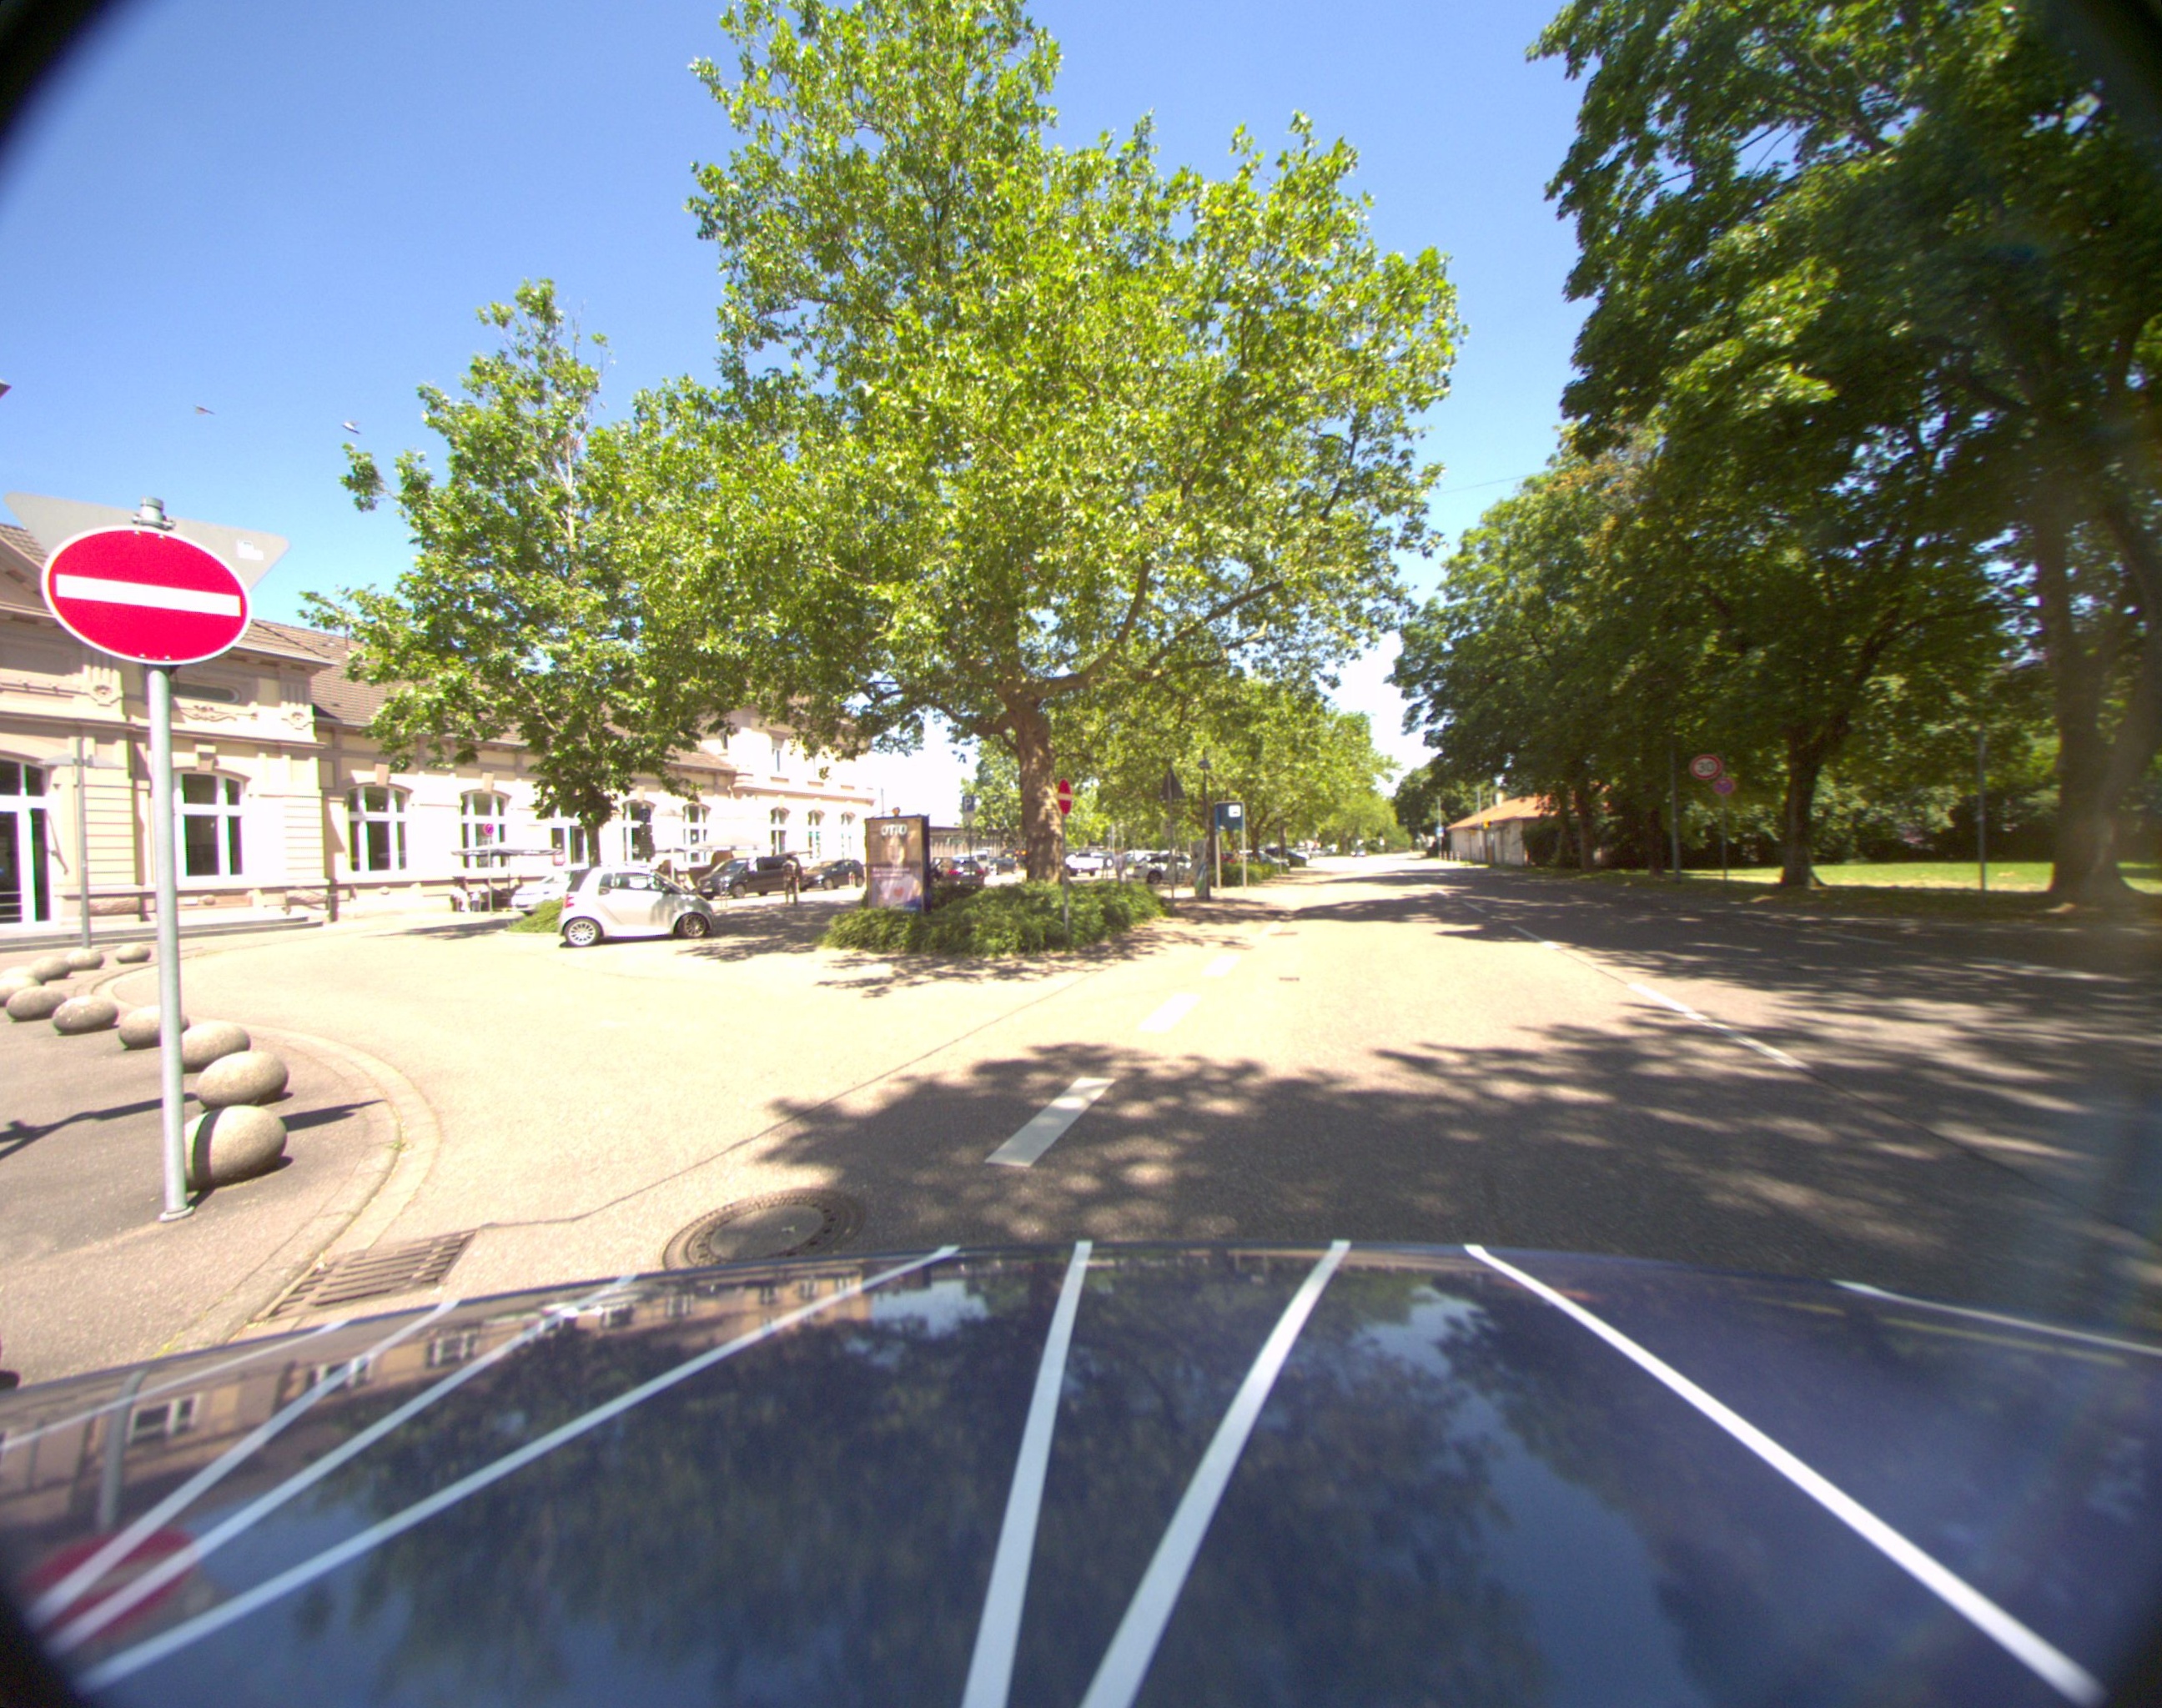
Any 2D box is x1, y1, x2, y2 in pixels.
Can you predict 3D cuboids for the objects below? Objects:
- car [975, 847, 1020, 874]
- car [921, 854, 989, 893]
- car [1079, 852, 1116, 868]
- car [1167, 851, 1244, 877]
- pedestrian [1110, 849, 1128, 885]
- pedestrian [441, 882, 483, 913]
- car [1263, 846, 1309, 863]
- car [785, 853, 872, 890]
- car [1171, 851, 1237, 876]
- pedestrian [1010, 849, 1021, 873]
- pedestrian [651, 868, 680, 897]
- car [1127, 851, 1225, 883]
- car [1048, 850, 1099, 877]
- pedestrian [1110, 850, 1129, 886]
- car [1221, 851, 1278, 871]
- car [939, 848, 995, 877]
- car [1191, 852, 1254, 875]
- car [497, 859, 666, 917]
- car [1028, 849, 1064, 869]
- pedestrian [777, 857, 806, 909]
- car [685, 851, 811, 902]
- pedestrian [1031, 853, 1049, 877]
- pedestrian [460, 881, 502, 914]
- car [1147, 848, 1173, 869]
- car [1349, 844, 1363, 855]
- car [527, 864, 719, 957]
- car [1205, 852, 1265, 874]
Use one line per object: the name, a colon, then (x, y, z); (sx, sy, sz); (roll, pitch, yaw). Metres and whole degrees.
car: (-6.673, 0.523, 61.319); (2.001, 1.978, 4.607); (-3, 0, 14)
car: (-5.946, 0.853, 35.427); (1.803, 1.534, 4.519); (-3, 2, -27)
car: (1.511, 0.568, 69.467); (1.806, 1.395, 3.505); (-2, 0, -30)
car: (7.309, 0.569, 44.696); (4.028, 1.397, 1.876); (-2, 0, -10)
pedestrian: (1.911, 0.648, 38.792); (0.838, 1.760, 0.852); (-2, 1, 1)
pedestrian: (-23.080, 1.616, 28.344); (0.880, 1.073, 0.853); (0, 1, 15)
car: (19.229, 0.063, 71.388); (3.872, 1.452, 1.637); (-2, 1, 6)
car: (-13.544, 0.918, 41.128); (2.077, 1.829, 4.846); (-2, -1, 14)
car: (7.894, 0.605, 48.840); (3.876, 1.452, 1.635); (-2, 1, -9)
pedestrian: (-5.509, 0.598, 63.841); (0.628, 1.978, 0.618); (-3, 0, 14)
pedestrian: (-20.258, 1.396, 37.058); (0.880, 1.363, 0.853); (0, 1, 15)
car: (4.777, 0.642, 38.643); (4.774, 1.409, 1.786); (-2, 1, 0)
car: (-0.531, 0.604, 51.061); (1.803, 1.596, 4.054); (-3, 2, -26)
pedestrian: (1.911, 0.701, 37.724); (0.838, 1.760, 0.851); (-2, 1, -1)
car: (12.792, 0.517, 57.771); (3.876, 1.452, 1.635); (-2, 1, -9)
car: (-8.116, 0.569, 54.762); (2.001, 1.829, 5.324); (-3, 0, 14)
car: (9.652, 0.623, 51.981); (3.876, 1.452, 1.635); (-2, 1, -9)
car: (-18.100, 1.173, 27.893); (1.811, 1.854, 5.146); (-2, -1, 17)
car: (-3.431, 0.467, 75.376); (1.996, 1.779, 4.253); (-4, 0, 21)
pedestrian: (-9.749, 0.955, 25.562); (0.775, 1.707, 0.813); (-2, 1, -27)
car: (-15.117, 0.963, 35.012); (2.090, 2.111, 5.832); (-2, -1, 14)
pedestrian: (-2.465, 0.664, 45.970); (0.802, 1.416, 0.689); (-2, 1, -31)
pedestrian: (-22.177, 1.605, 28.084); (0.880, 1.155, 0.853); (0, 1, 15)
car: (7.260, 0.422, 70.194); (1.738, 1.882, 3.998); (-2, 0, -4)
car: (40.104, -0.642, 110.756); (1.658, 1.368, 3.457); (-5, -1, 24)
car: (-9.114, 1.044, 15.250); (3.111, 1.584, 1.598); (-2, 1, -33)
car: (11.171, 0.608, 55.130); (3.876, 1.452, 1.635); (-2, 1, -9)
